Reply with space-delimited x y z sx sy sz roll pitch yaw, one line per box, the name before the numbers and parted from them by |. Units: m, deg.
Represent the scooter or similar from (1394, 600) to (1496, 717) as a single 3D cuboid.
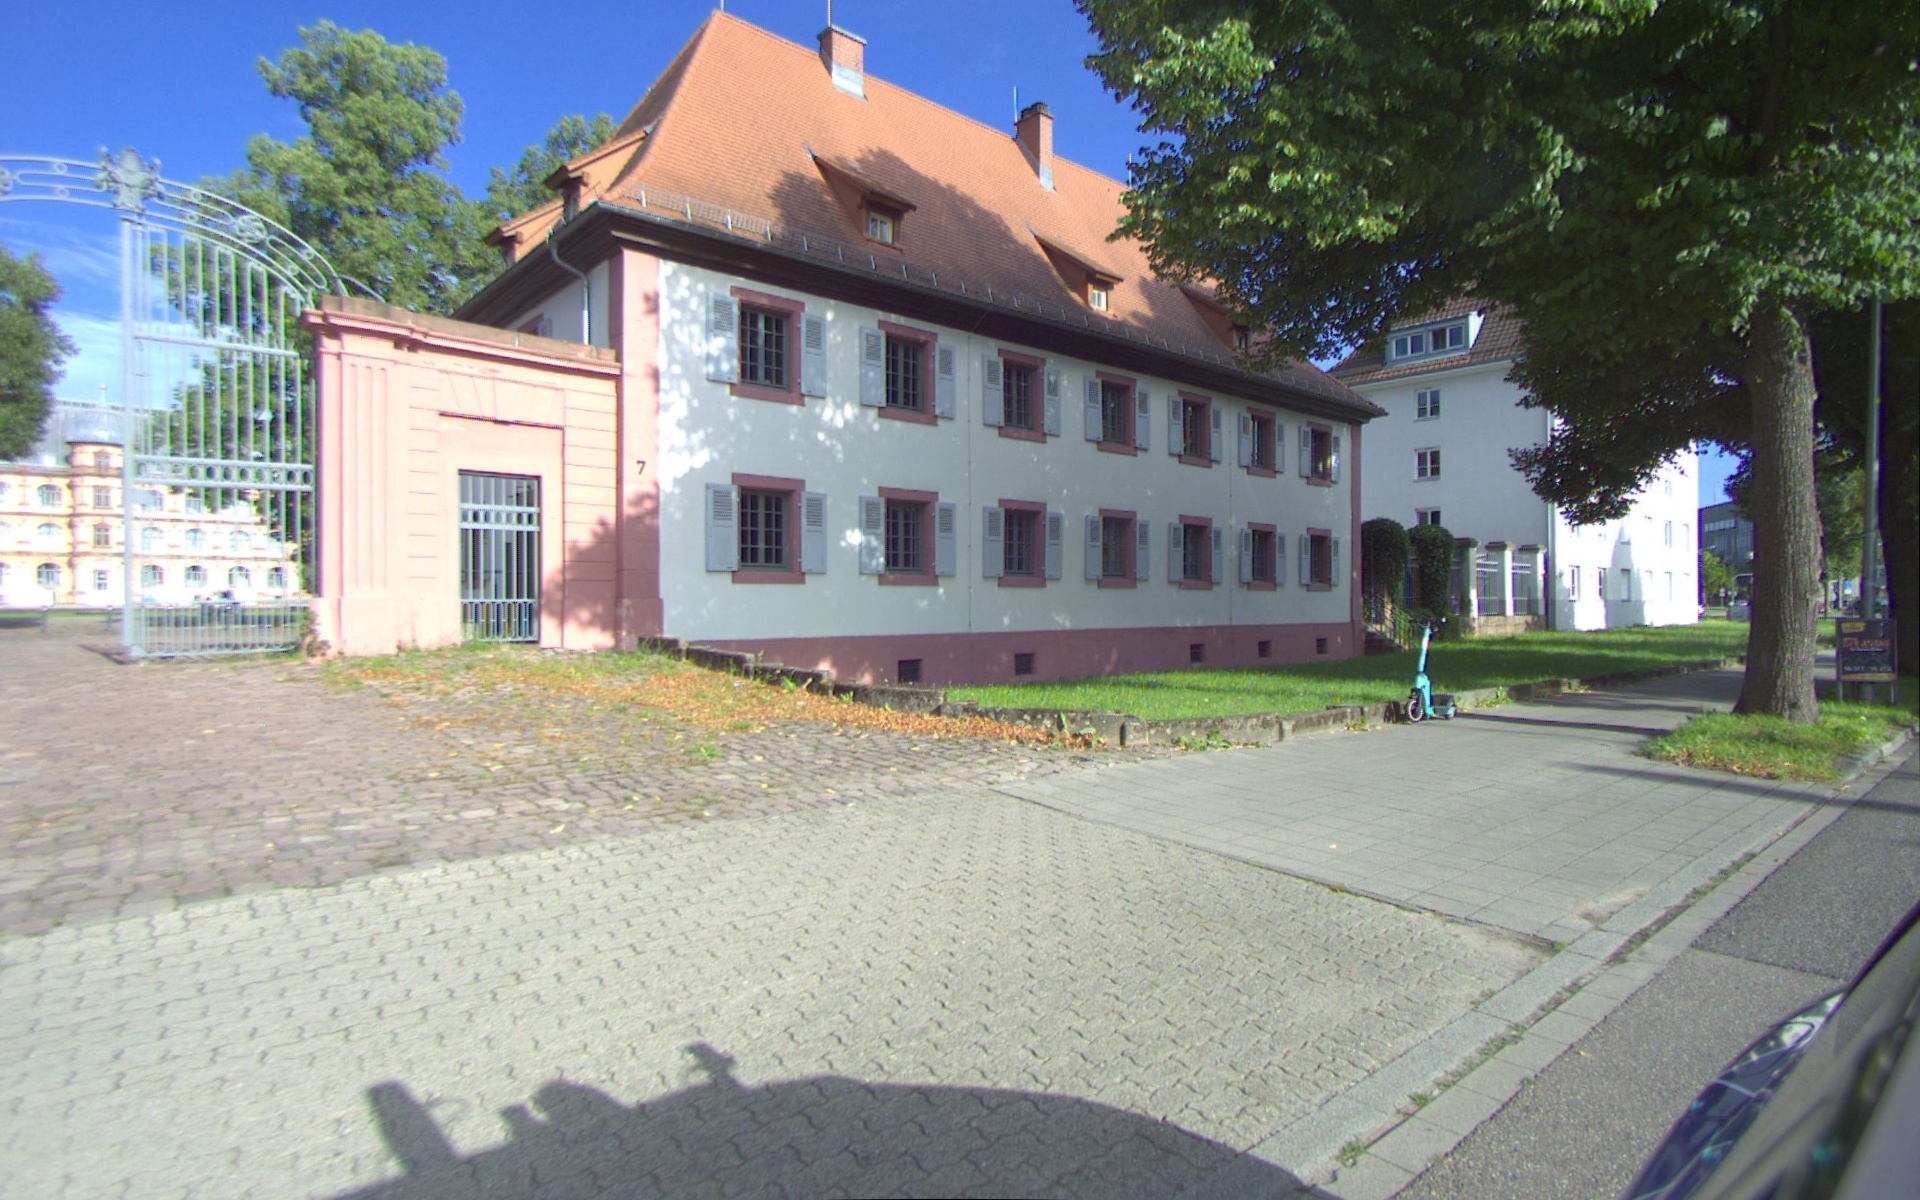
scooter or similar | 5.836 0.667 12.156 1.357 1.307 0.580 0 1 -40
